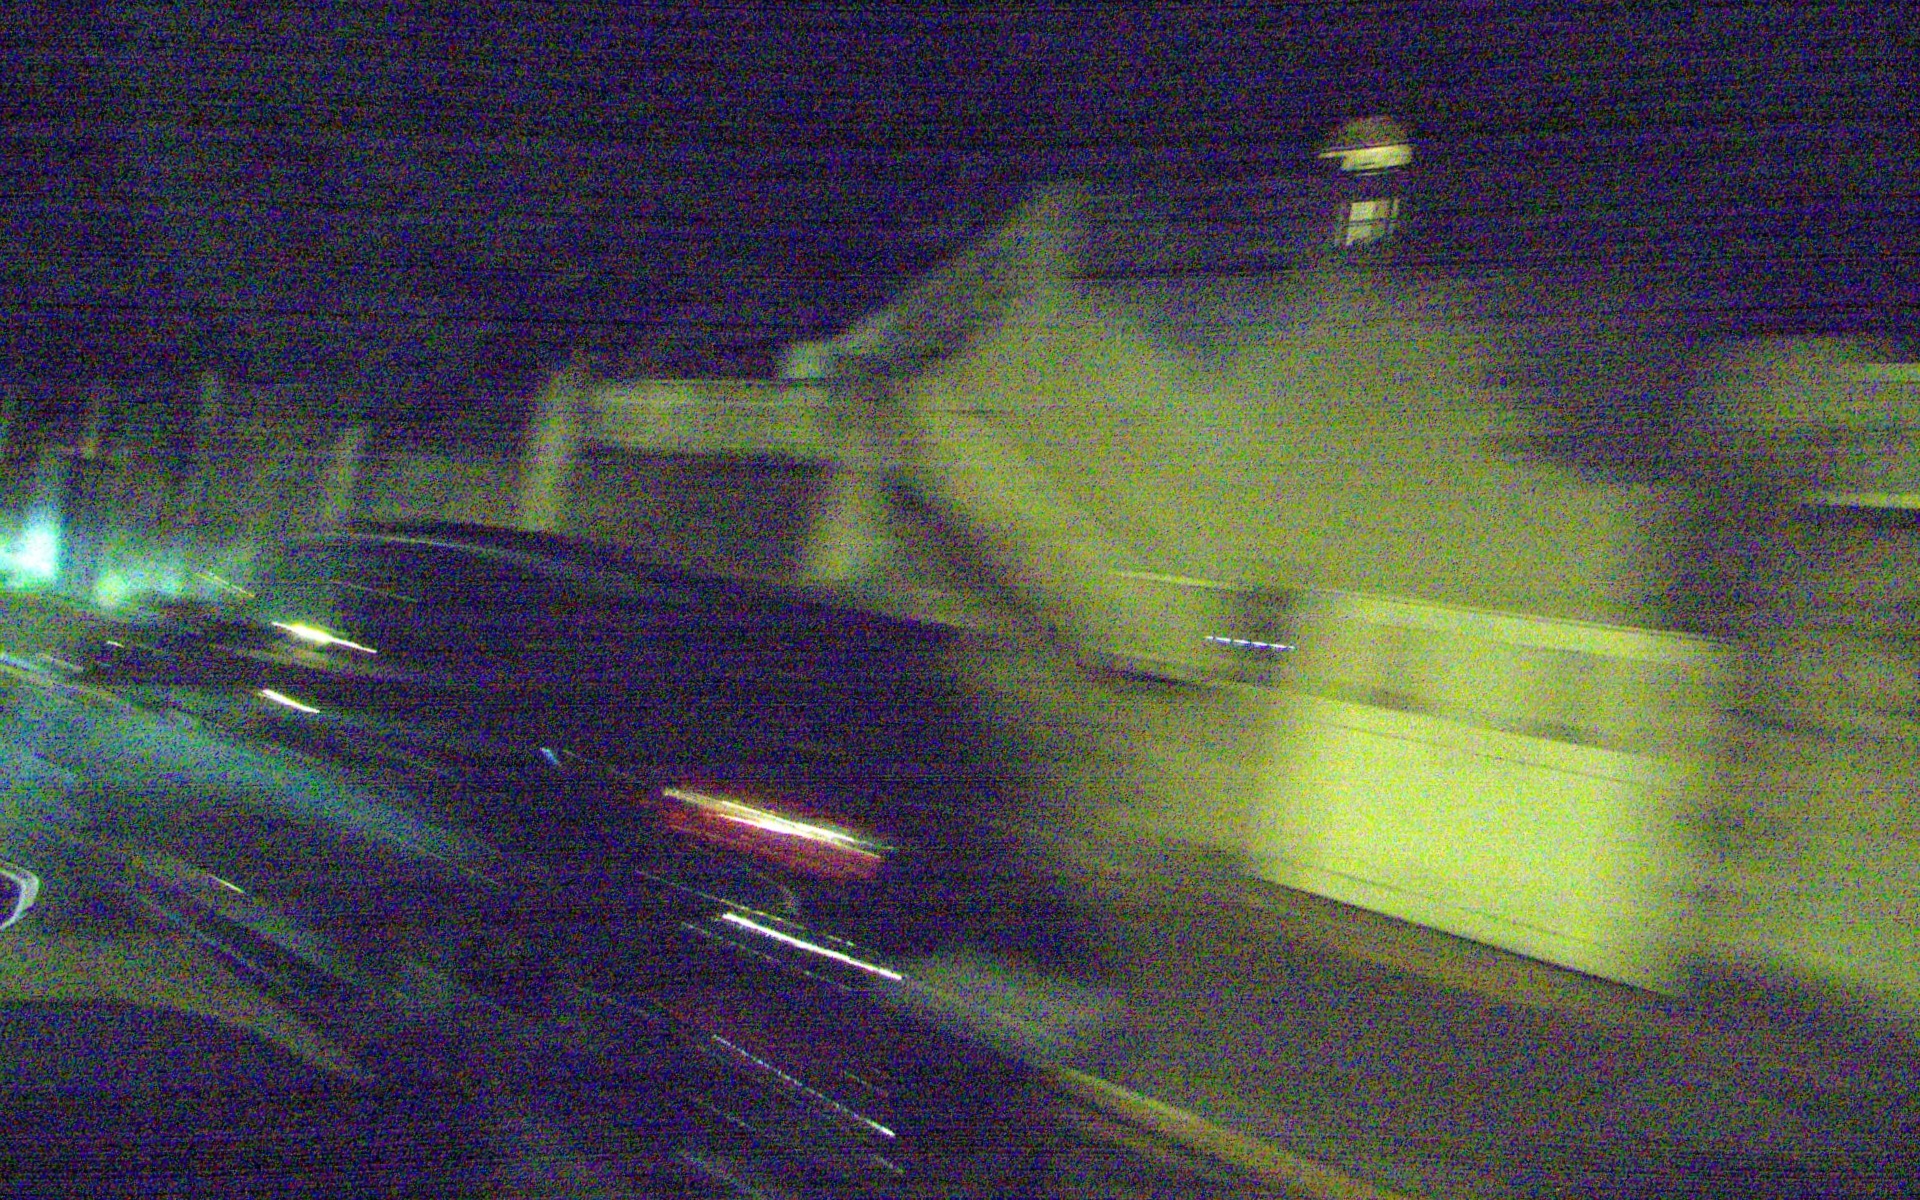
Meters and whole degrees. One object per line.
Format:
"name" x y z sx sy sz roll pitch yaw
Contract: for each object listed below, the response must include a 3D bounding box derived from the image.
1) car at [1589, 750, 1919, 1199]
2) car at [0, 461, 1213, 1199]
"car" 3.020 1.252 0.759 4.185 1.487 1.748 7 -2 31
"car" -1.696 0.567 3.569 4.544 1.683 1.834 6 -1 34
